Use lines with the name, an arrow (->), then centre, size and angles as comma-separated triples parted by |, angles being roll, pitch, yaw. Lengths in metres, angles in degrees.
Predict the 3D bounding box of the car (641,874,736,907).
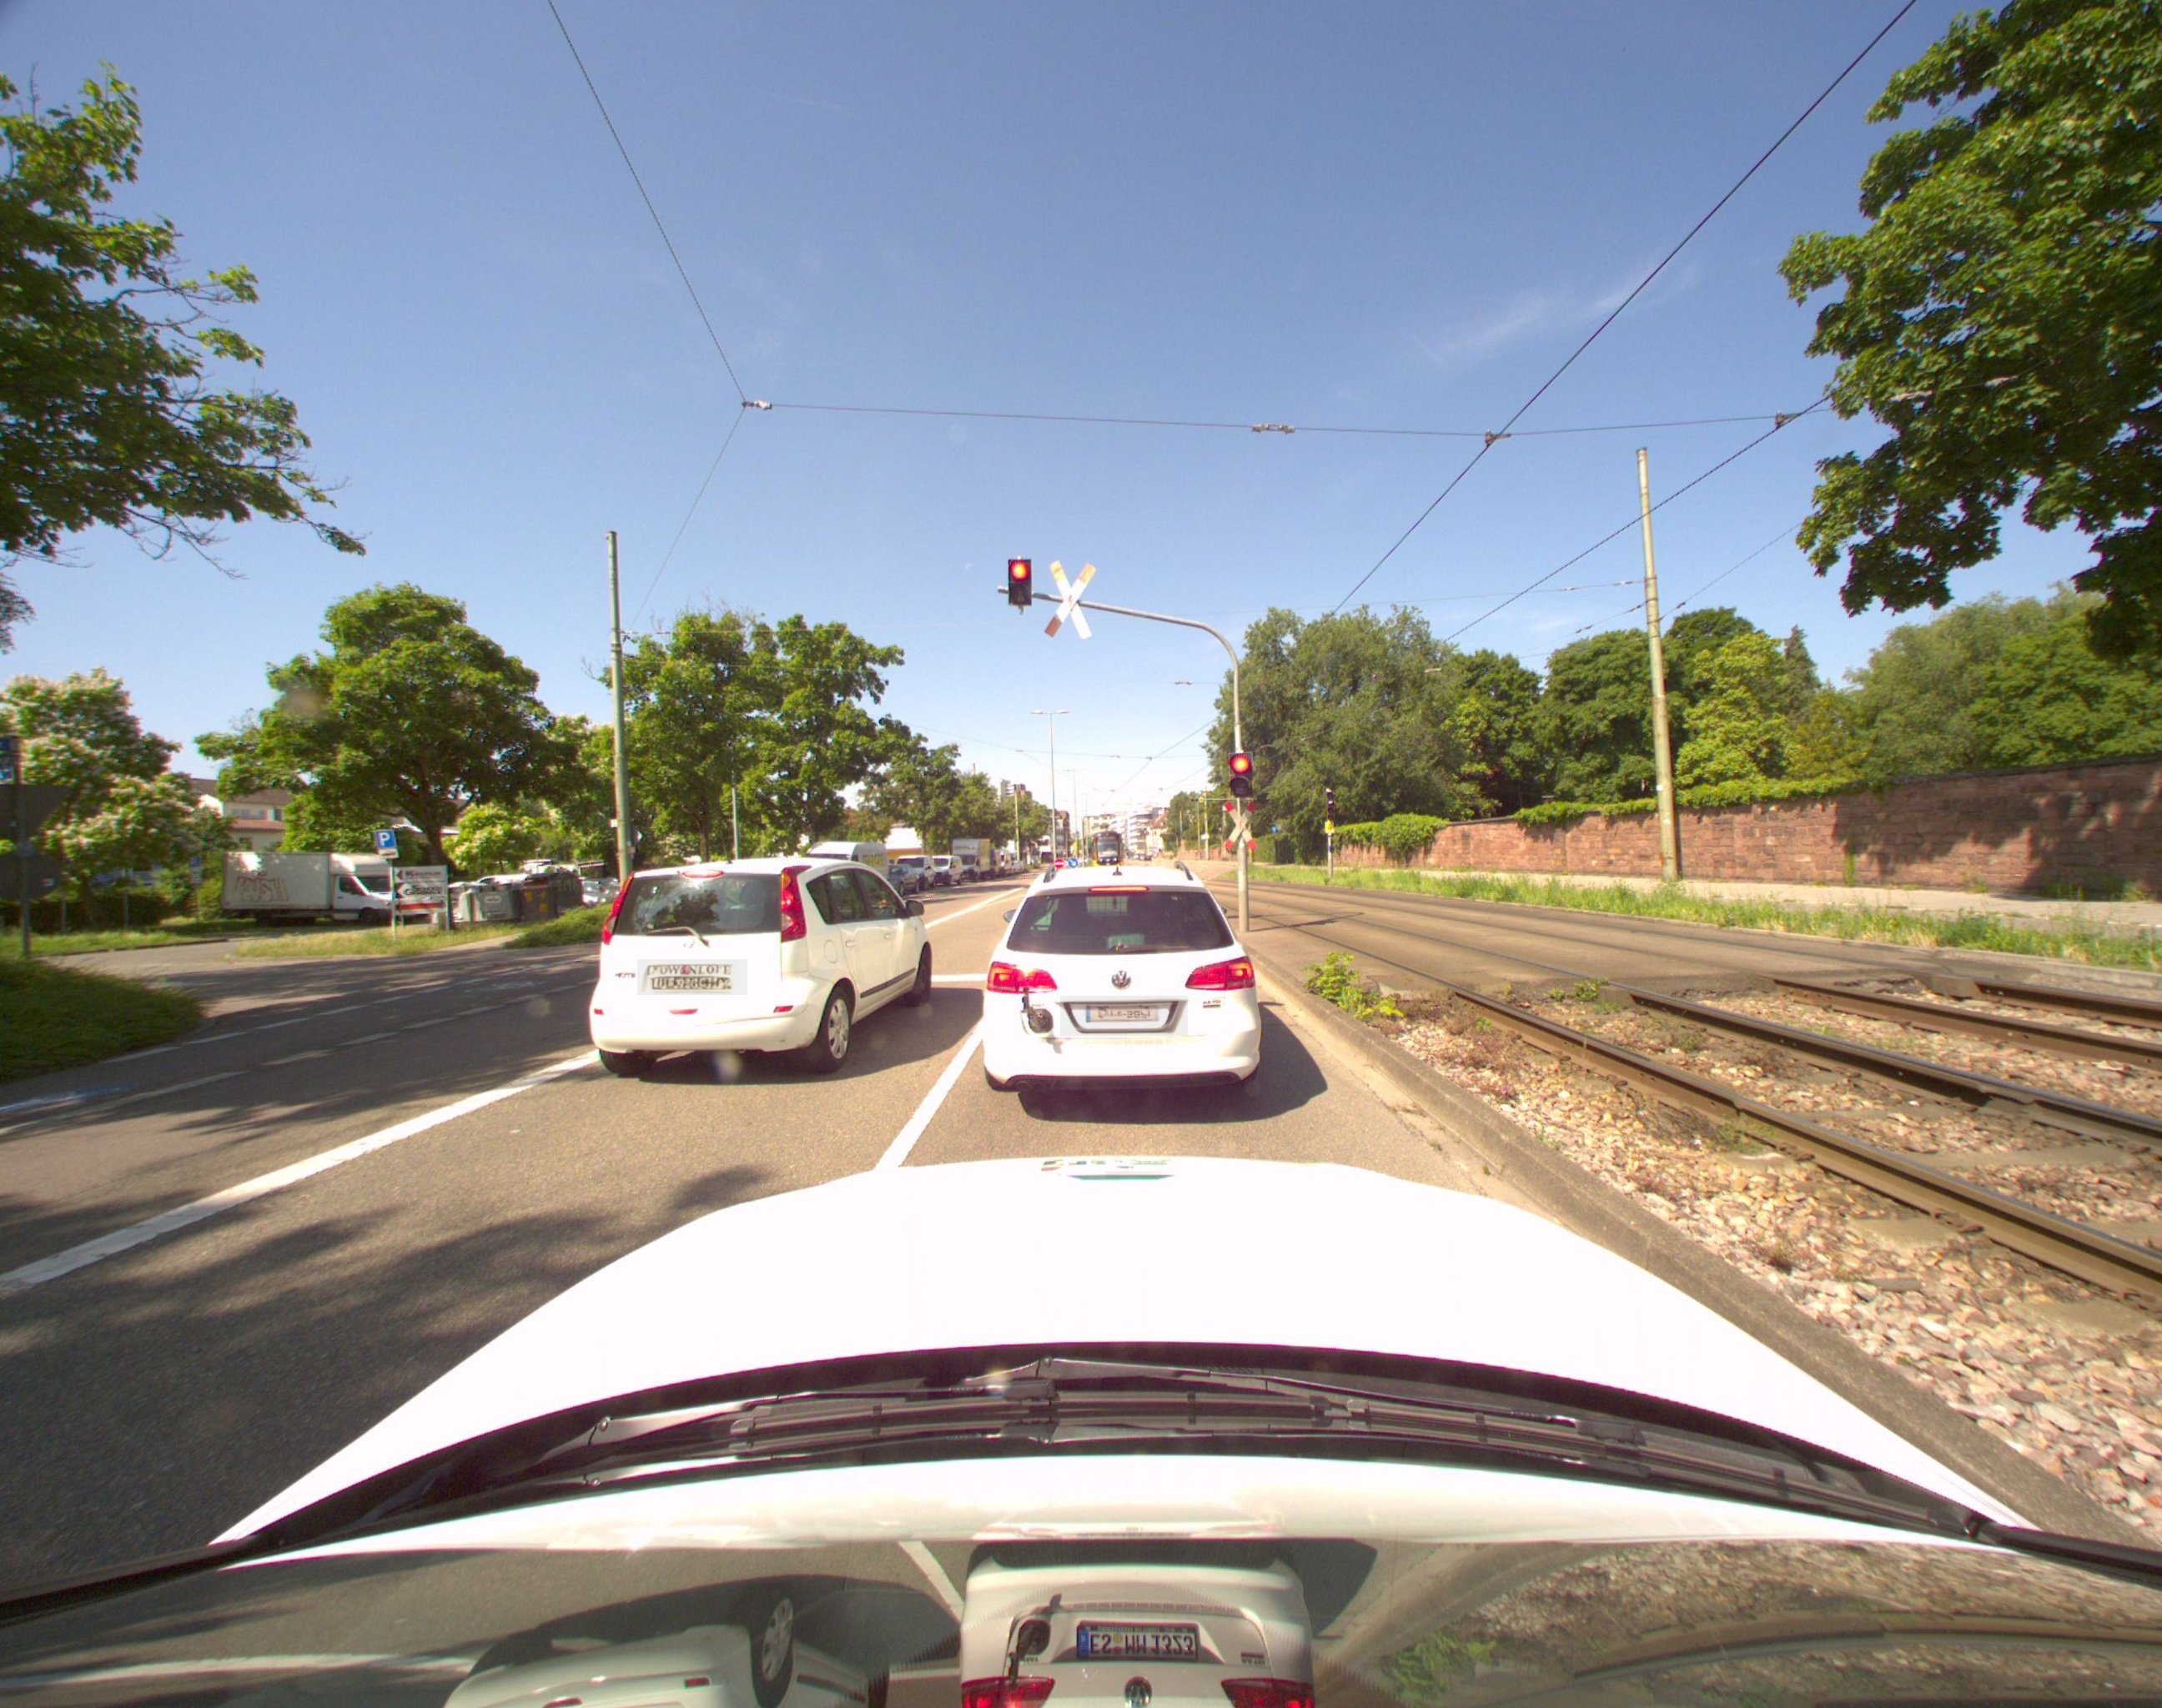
car -> -20.291, 1.863, 42.177 | 3.977, 1.415, 1.729 | -4, -1, -3

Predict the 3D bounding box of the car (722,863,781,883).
car -> -31.506, 1.812, 77.961 | 4.780, 1.787, 2.062 | 0, -1, -3

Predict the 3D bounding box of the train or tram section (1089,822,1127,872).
train or tram section -> 2.487, -0.569, 71.974 | 2.859, 3.855, 12.400 | -3, 0, 3

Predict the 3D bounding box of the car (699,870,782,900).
car -> -19.613, 1.762, 47.058 | 3.977, 1.415, 1.729 | -4, -1, -3

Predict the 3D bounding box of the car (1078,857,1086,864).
car -> 0.362, 1.623, 203.205 | 1.698, 1.473, 4.593 | -3, 0, 3

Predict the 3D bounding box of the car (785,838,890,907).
car -> -9.583, 0.683, 32.668 | 2.114, 2.516, 5.822 | 0, 0, 3

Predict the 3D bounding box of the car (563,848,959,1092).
car -> -2.420, 0.750, 7.550 | 1.655, 1.547, 4.550 | -1, 0, 3

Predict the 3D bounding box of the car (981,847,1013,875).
car -> -7.779, 0.670, 76.115 | 2.114, 2.516, 5.737 | 0, 0, 2

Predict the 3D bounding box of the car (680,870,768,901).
car -> -19.542, 1.717, 44.724 | 3.977, 1.415, 1.729 | -4, -1, -3

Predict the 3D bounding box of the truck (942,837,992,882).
truck -> -8.371, 0.407, 60.684 | 2.411, 3.150, 7.001 | 0, 0, 2

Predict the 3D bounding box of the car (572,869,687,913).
car -> -19.920, 1.624, 36.061 | 3.977, 1.610, 1.729 | -4, -1, -3

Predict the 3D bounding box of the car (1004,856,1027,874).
car -> -6.833, 1.125, 85.204 | 1.856, 1.868, 5.415 | 0, 0, 1

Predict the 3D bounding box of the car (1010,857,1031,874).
car -> -6.784, 1.241, 92.022 | 1.856, 1.868, 5.415 | 0, 0, 1

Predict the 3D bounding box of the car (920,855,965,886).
car -> -8.813, 1.007, 52.263 | 1.856, 1.868, 5.415 | 0, 0, 1

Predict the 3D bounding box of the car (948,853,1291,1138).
car -> 0.265, 0.751, 6.313 | 1.756, 1.430, 4.002 | -3, 0, 2

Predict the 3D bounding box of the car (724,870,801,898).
car -> -19.467, 1.816, 49.874 | 3.977, 1.415, 1.729 | -4, -1, -3

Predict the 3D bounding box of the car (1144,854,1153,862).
car -> 16.003, 1.028, 192.611 | 1.857, 1.868, 5.063 | 0, 0, 1

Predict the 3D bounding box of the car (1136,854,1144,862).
car -> 15.064, 1.062, 207.090 | 1.857, 1.868, 5.063 | 0, 0, 1

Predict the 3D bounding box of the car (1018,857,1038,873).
car -> -6.402, 1.348, 98.934 | 1.856, 1.868, 5.415 | 0, 0, 1

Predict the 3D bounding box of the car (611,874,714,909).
car -> -20.299, 1.800, 39.597 | 3.977, 1.415, 1.729 | -4, -1, -3

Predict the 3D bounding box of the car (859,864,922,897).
car -> -9.044, 1.218, 39.005 | 1.856, 1.415, 4.281 | 0, 0, 1

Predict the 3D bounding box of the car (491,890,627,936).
car -> -19.902, 2.230, 31.161 | 3.977, 1.415, 1.729 | -4, -1, -3

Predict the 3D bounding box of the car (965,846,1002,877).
car -> -8.154, 0.611, 68.683 | 2.114, 2.516, 5.737 | 0, 0, 2

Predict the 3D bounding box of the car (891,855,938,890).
car -> -9.247, 0.987, 45.679 | 1.859, 1.868, 5.068 | 0, 0, -4

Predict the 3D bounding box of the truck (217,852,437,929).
truck -> -32.427, 1.516, 35.199 | 6.979, 3.110, 2.677 | 0, 0, 0

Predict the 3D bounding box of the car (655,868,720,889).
car -> -35.205, 2.188, 72.965 | 4.780, 1.787, 2.062 | 0, -1, -3

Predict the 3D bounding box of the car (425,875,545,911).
car -> -31.771, 2.042, 43.507 | 4.780, 1.787, 2.062 | 0, -1, -3

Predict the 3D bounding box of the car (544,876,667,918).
car -> -19.670, 1.764, 33.838 | 3.977, 1.415, 1.729 | -4, -1, -3

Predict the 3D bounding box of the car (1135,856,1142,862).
car -> 18.456, 1.585, 262.310 | 1.857, 1.868, 5.063 | 0, 0, 1
